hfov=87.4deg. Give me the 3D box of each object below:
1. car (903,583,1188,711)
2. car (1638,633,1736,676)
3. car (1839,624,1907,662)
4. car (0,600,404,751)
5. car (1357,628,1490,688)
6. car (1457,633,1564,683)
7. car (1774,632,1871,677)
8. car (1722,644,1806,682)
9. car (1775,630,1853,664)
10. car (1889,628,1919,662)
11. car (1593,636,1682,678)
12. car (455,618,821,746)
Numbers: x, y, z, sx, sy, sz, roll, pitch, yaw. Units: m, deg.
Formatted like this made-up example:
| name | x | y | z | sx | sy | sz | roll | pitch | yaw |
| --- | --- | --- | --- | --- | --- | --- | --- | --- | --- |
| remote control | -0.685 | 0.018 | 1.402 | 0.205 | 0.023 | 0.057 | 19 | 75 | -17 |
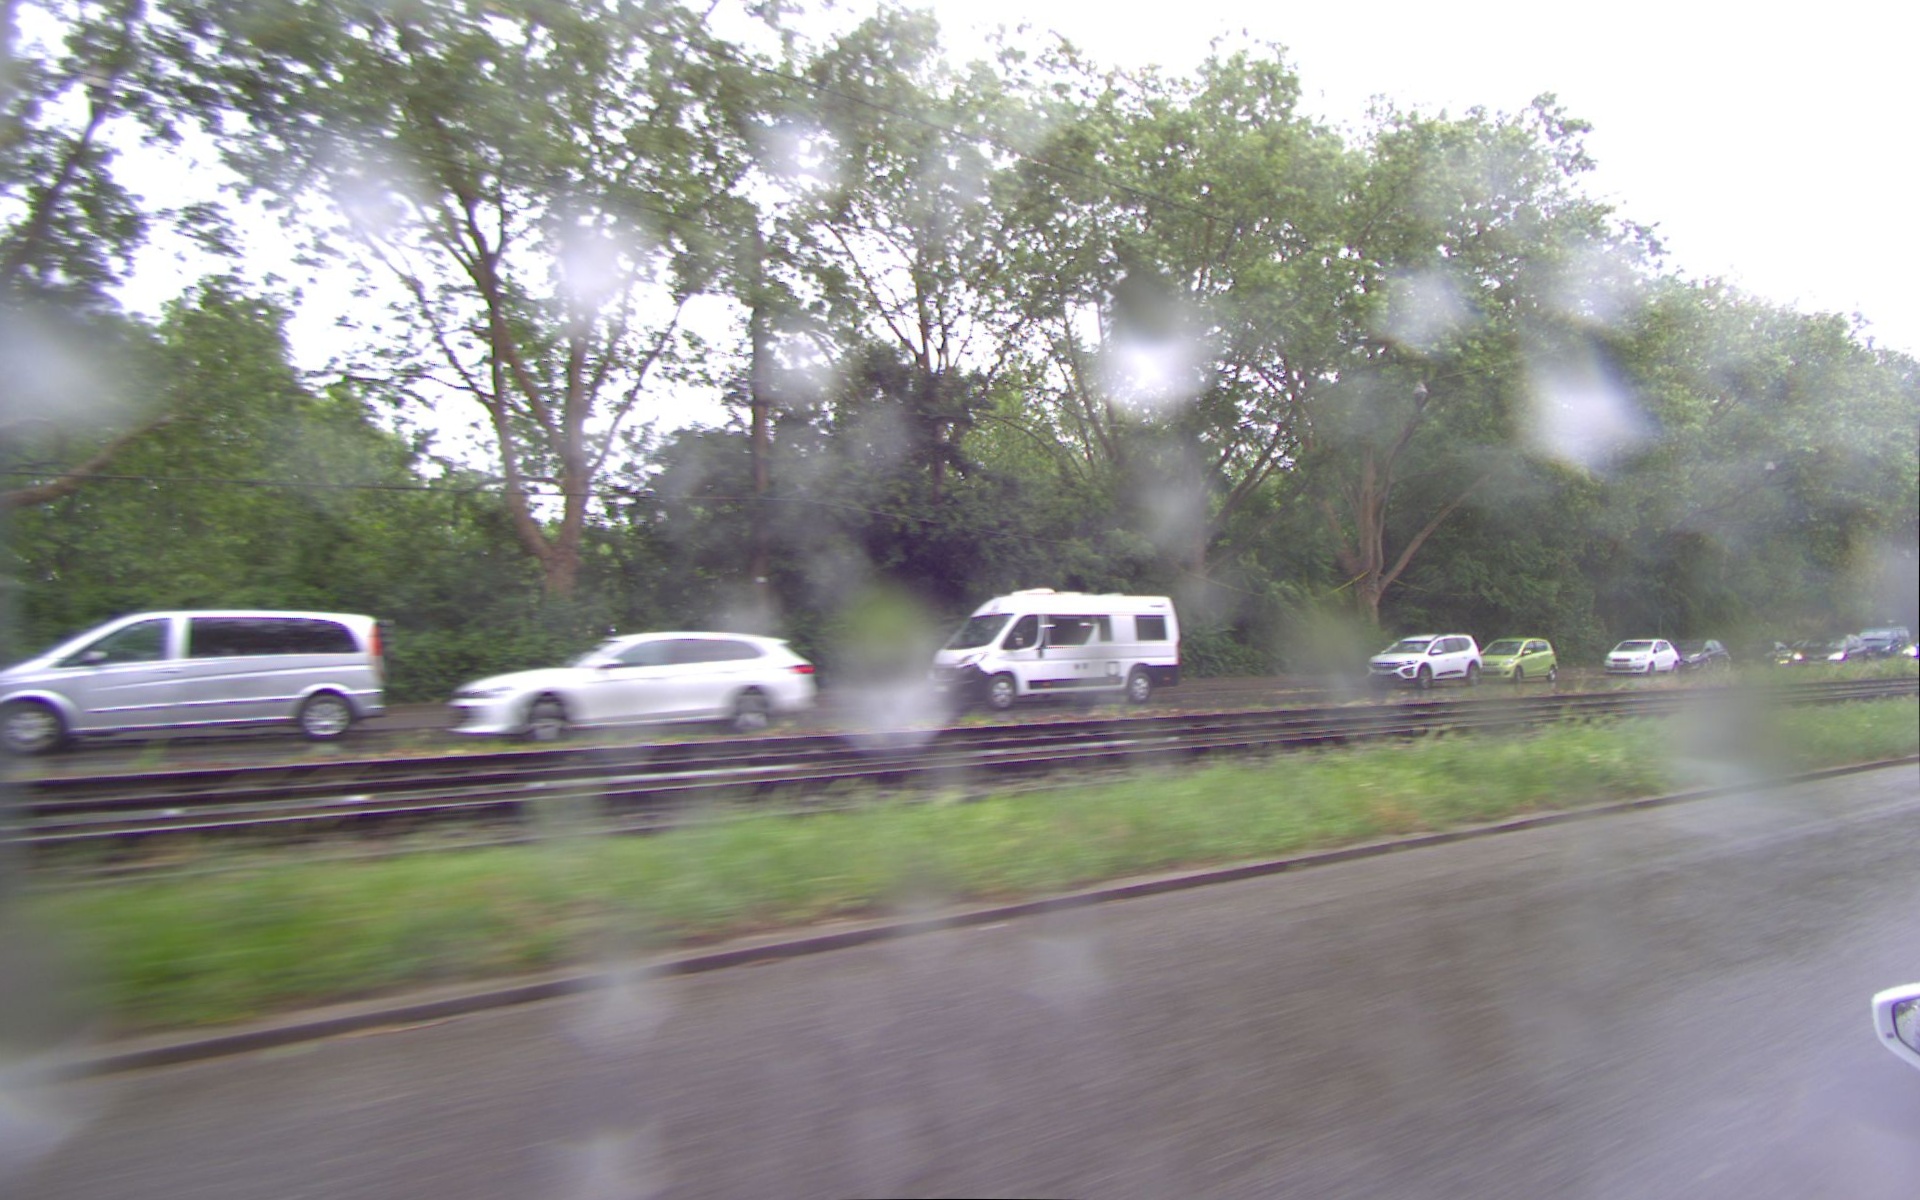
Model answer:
| name | x | y | z | sx | sy | sz | roll | pitch | yaw |
| --- | --- | --- | --- | --- | --- | --- | --- | --- | --- |
| car | 2.083 | 1.071 | 22.970 | 6.500 | 2.574 | 2.375 | 2 | -3 | -35 |
| car | 31.940 | 2.384 | 44.104 | 4.646 | 1.774 | 2.019 | 2 | -3 | -35 |
| car | 53.402 | 2.515 | 58.757 | 4.758 | 2.120 | 2.018 | 2 | -3 | -36 |
| car | -10.756 | 1.038 | 14.562 | 4.590 | 1.886 | 1.946 | 2 | -3 | -33 |
| car | 14.512 | 1.789 | 31.389 | 4.485 | 1.750 | 1.739 | 2 | -3 | -35 |
| car | 19.189 | 1.996 | 34.977 | 3.774 | 1.669 | 1.750 | 2 | -3 | -35 |
| car | 35.770 | 2.260 | 41.644 | 4.216 | 1.774 | 2.019 | 2 | -3 | -34 |
| car | 38.967 | 3.002 | 48.638 | 4.565 | 1.679 | 2.018 | 2 | -2 | -35 |
| car | 44.655 | 2.450 | 52.501 | 4.563 | 1.679 | 2.019 | 2 | -1 | -35 |
| car | 51.274 | 2.388 | 53.209 | 4.646 | 1.774 | 2.019 | 2 | -3 | -35 |
| car | 27.951 | 2.321 | 41.411 | 3.774 | 1.669 | 1.750 | 2 | -3 | -35 |
| car | -4.581 | 1.115 | 14.595 | 4.719 | 1.587 | 1.966 | 2 | -3 | -34 |
